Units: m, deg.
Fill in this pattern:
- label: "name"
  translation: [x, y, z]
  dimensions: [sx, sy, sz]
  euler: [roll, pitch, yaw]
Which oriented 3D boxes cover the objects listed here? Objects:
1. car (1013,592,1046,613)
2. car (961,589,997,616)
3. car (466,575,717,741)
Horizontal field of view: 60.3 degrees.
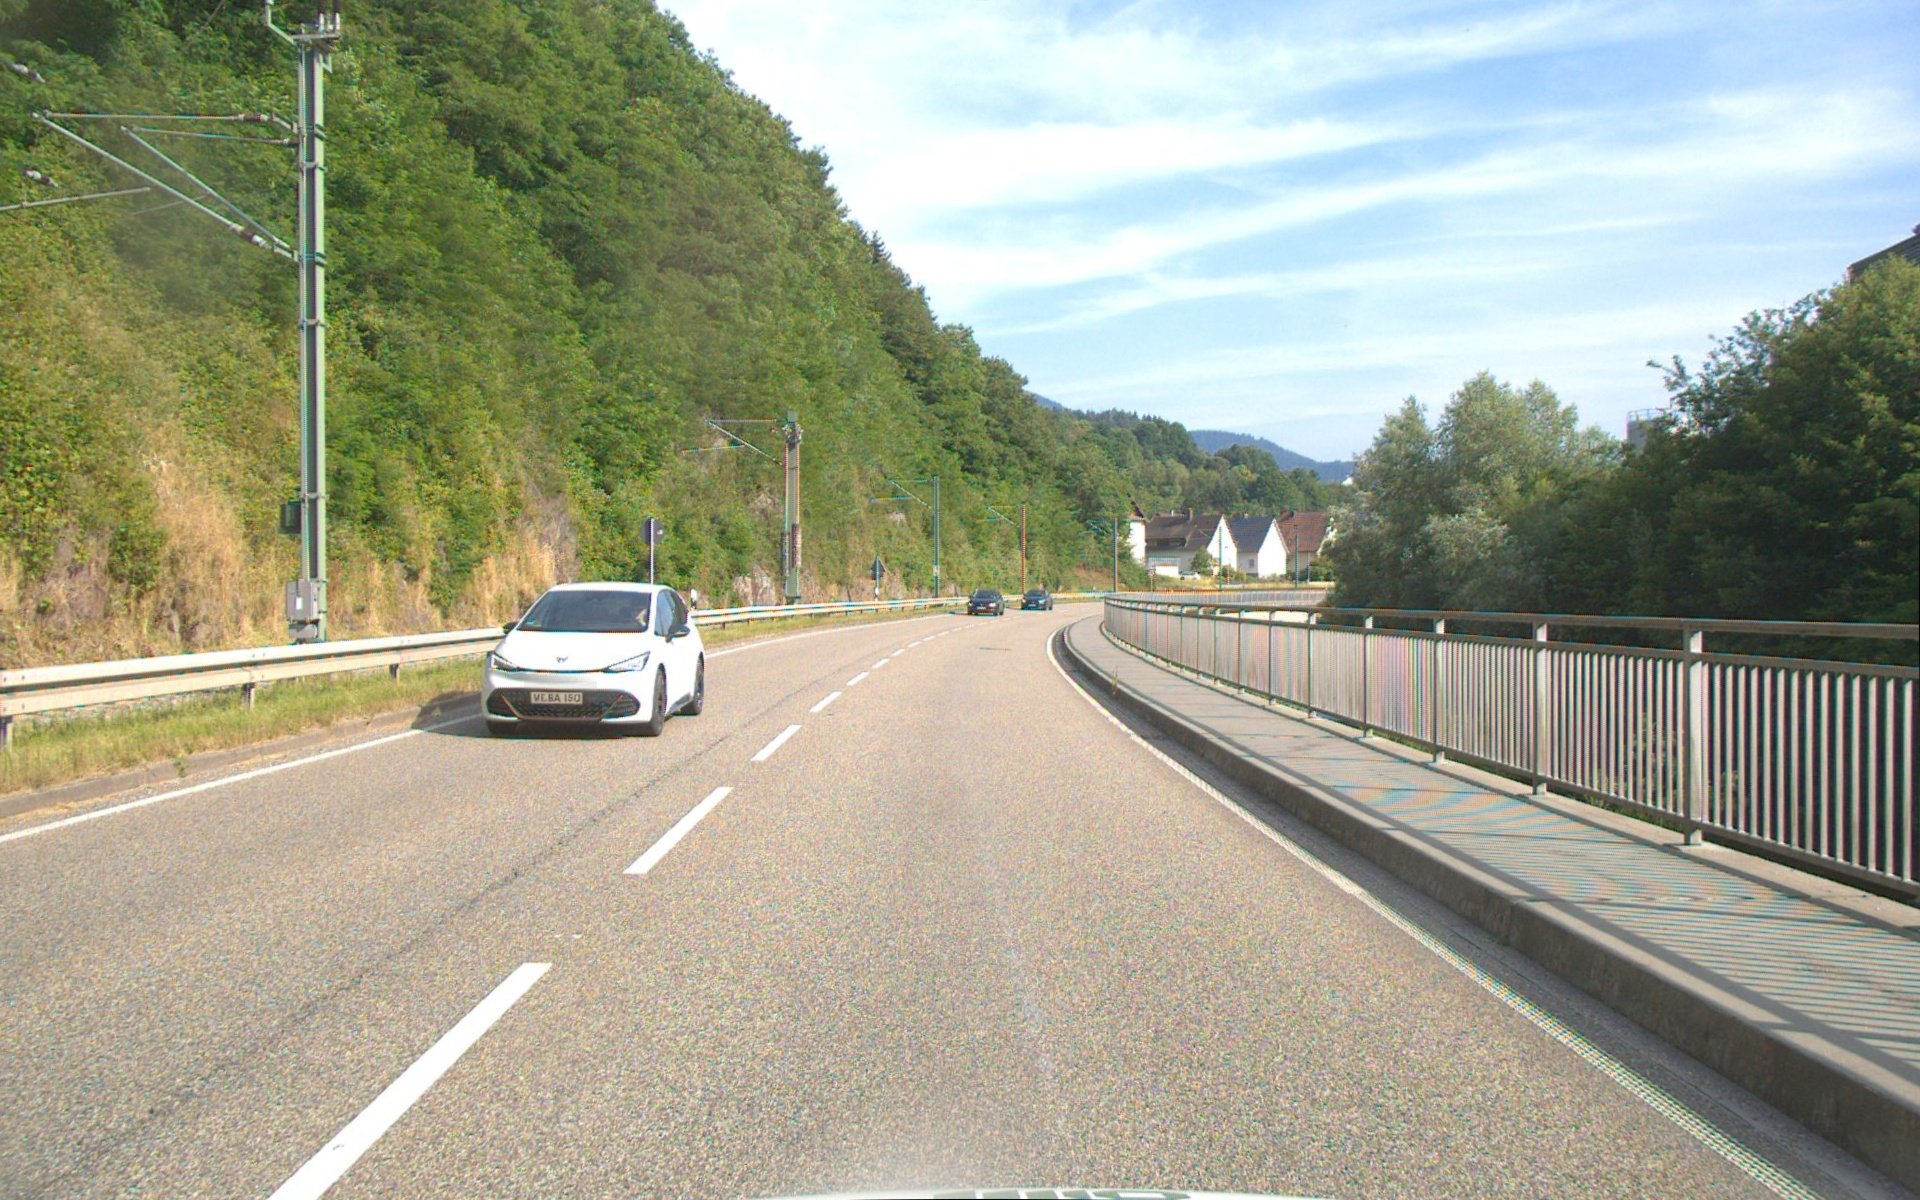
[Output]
- label: "car"
  translation: [4.963, 0.194, 117.549]
  dimensions: [1.808, 1.426, 4.480]
  euler: [0, 0, 10]
- label: "car"
  translation: [1.098, 0.124, 95.181]
  dimensions: [1.808, 1.465, 3.899]
  euler: [-2, 0, 4]
- label: "car"
  translation: [-3.924, 0.548, 18.407]
  dimensions: [1.810, 1.571, 4.603]
  euler: [1, 0, -1]
